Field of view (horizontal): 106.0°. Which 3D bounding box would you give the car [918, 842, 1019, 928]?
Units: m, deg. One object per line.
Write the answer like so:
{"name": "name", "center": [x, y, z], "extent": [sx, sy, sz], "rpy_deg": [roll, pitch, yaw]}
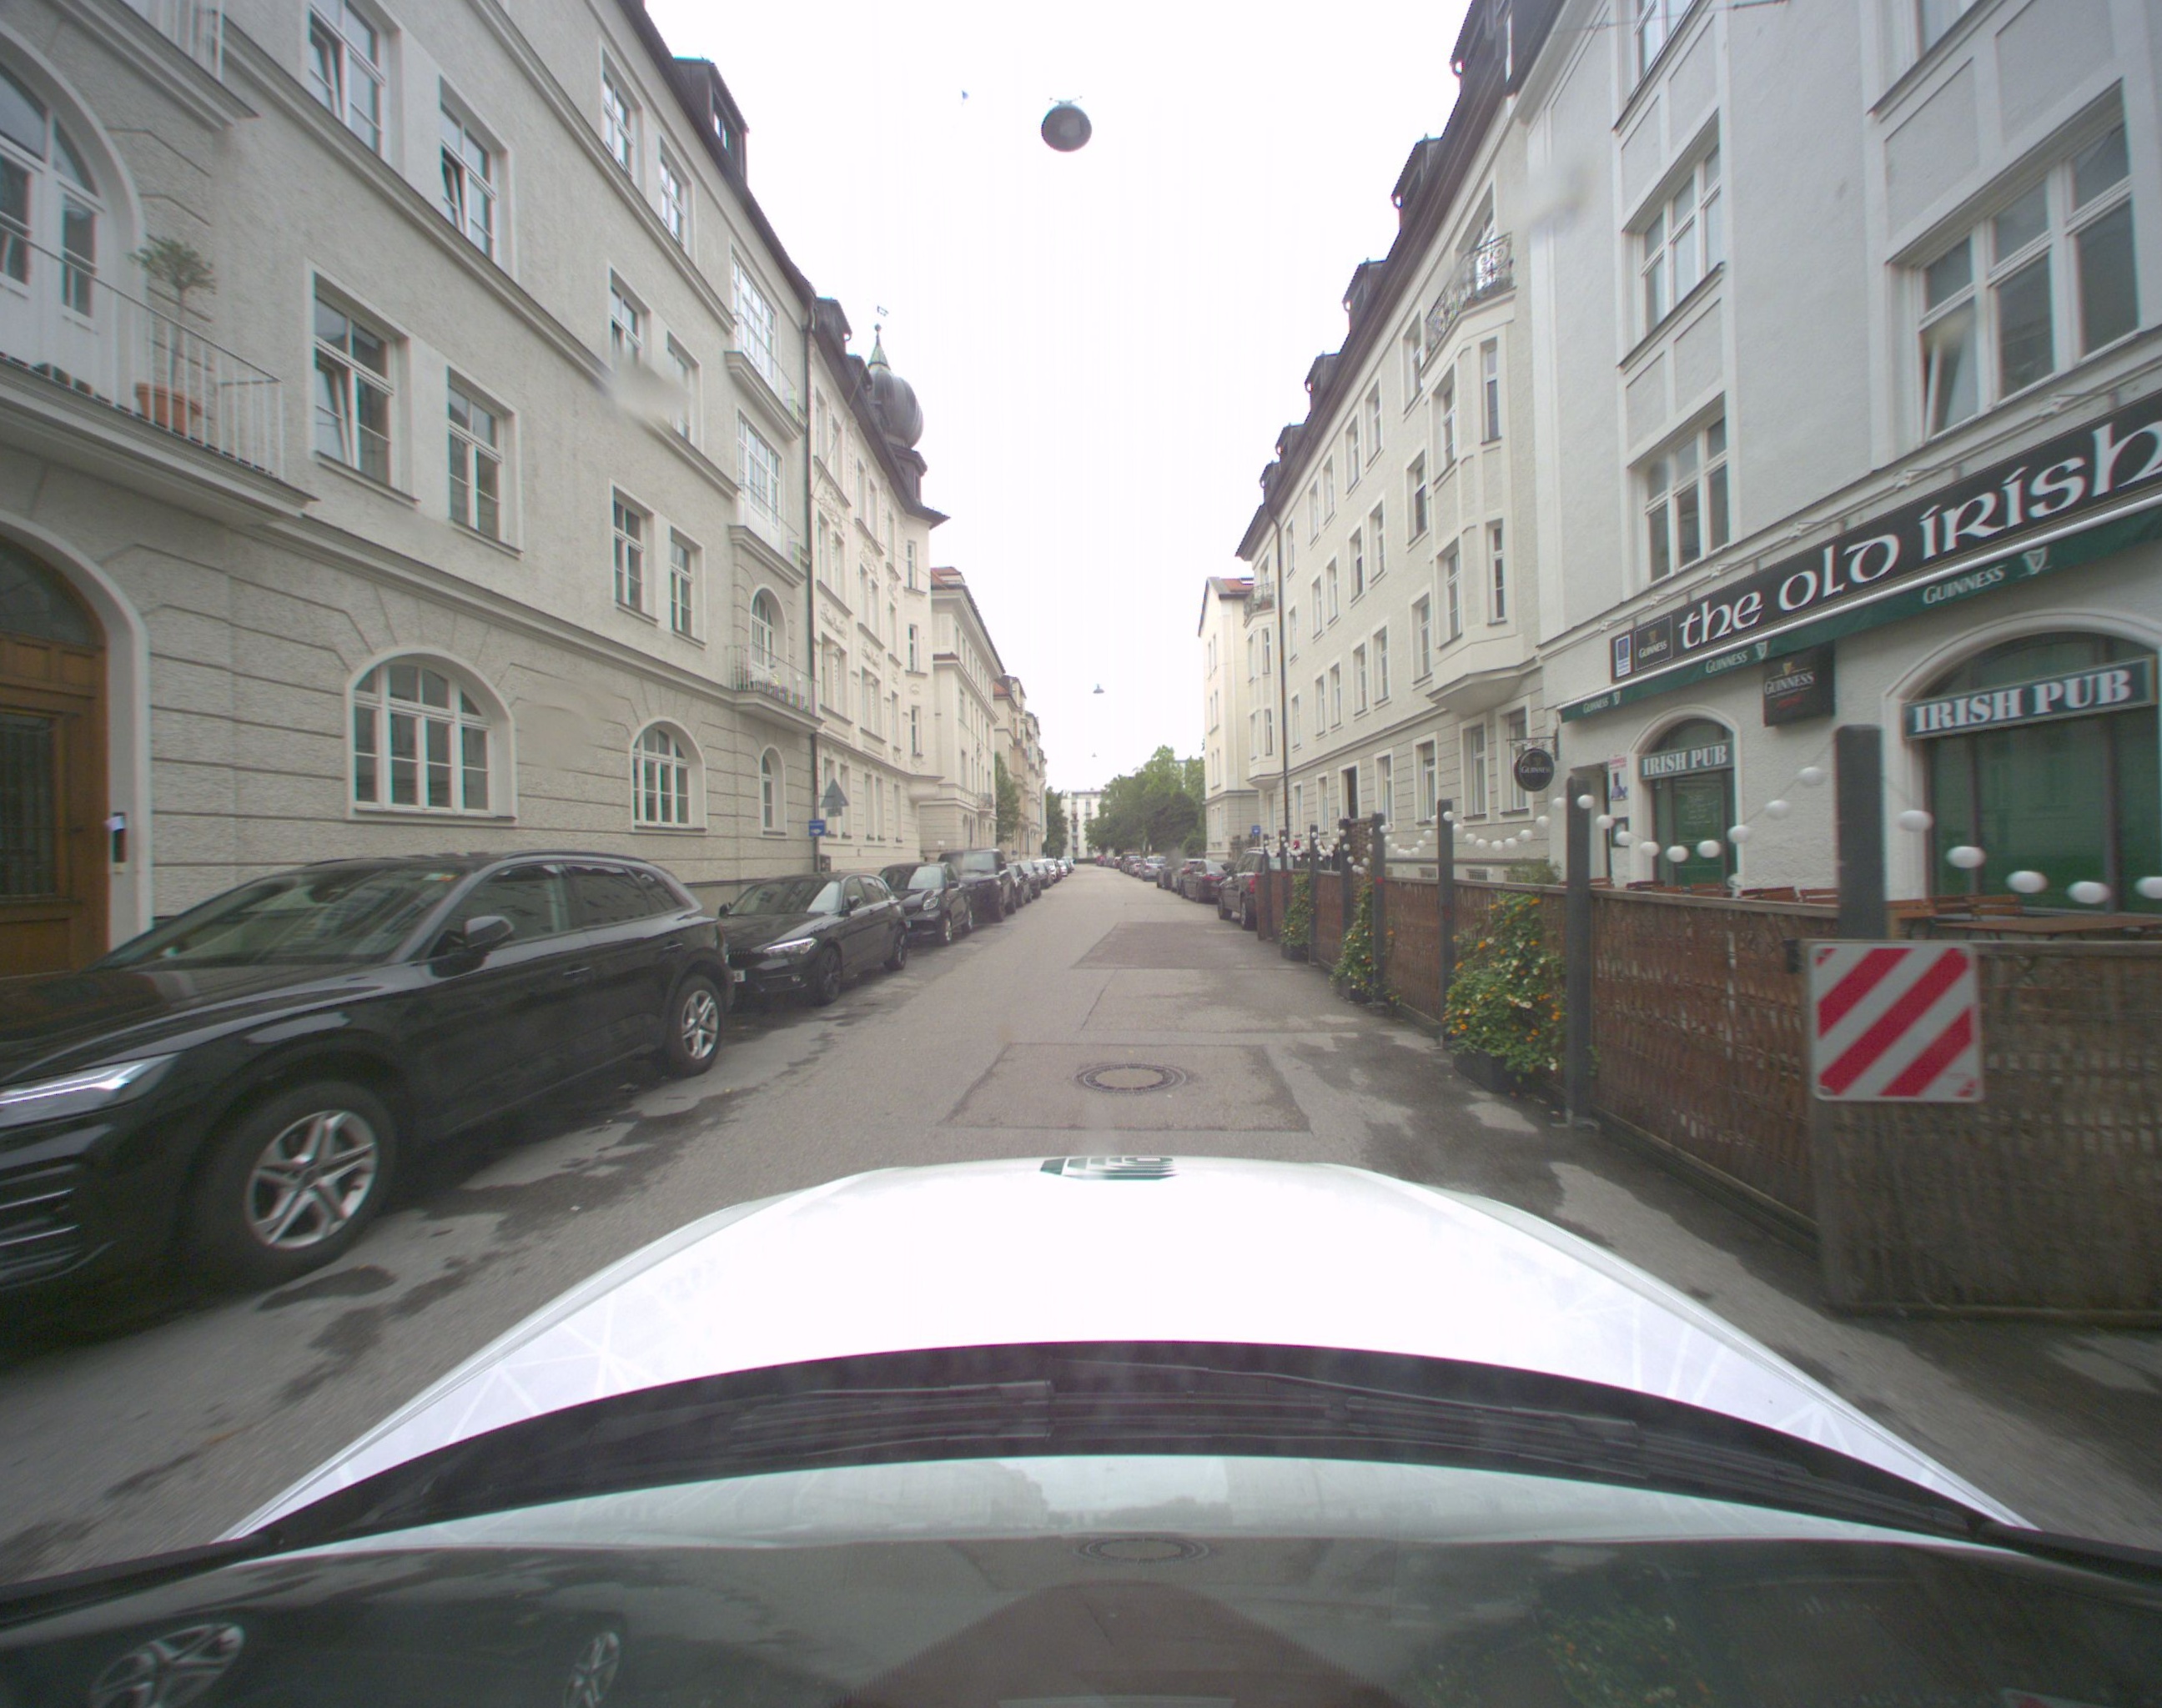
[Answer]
{"name": "car", "center": [-2.773, 0.705, 21.135], "extent": [1.830, 1.894, 4.763], "rpy_deg": [-3, 0, 0]}

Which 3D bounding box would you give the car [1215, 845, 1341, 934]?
{"name": "car", "center": [4.095, 0.676, 17.613], "extent": [1.793, 1.675, 4.191], "rpy_deg": [-1, 0, 2]}

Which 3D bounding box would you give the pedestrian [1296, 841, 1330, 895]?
{"name": "pedestrian", "center": [8.091, 0.472, 28.444], "extent": [0.880, 1.813, 1.111], "rpy_deg": [-1, 0, 1]}

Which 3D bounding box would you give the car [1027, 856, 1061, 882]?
{"name": "car", "center": [-2.417, 0.972, 54.179], "extent": [1.908, 1.618, 4.572], "rpy_deg": [-1, 0, 1]}

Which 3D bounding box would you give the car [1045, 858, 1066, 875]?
{"name": "car", "center": [-2.329, 1.132, 75.143], "extent": [1.831, 1.434, 4.242], "rpy_deg": [-3, 0, -1]}

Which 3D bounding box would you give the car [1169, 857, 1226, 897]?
{"name": "car", "center": [4.686, 0.884, 33.257], "extent": [1.754, 1.485, 4.421], "rpy_deg": [1, 0, 1]}

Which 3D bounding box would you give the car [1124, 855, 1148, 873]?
{"name": "car", "center": [5.044, 0.920, 75.618], "extent": [1.746, 1.610, 4.419], "rpy_deg": [0, 0, -3]}

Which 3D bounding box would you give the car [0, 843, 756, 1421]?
{"name": "car", "center": [-3.759, 0.781, 4.514], "extent": [1.868, 1.599, 4.438], "rpy_deg": [-1, 0, 4]}

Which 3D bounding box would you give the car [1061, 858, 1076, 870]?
{"name": "car", "center": [-1.682, 1.314, 110.723], "extent": [1.830, 1.438, 4.275], "rpy_deg": [-4, 0, 1]}

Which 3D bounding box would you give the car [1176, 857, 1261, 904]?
{"name": "car", "center": [4.571, 0.838, 27.786], "extent": [1.832, 1.399, 4.968], "rpy_deg": [0, 0, -3]}

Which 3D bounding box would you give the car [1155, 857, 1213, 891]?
{"name": "car", "center": [4.745, 0.885, 38.212], "extent": [1.988, 1.457, 4.710], "rpy_deg": [-2, 0, -1]}

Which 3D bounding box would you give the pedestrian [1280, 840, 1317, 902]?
{"name": "pedestrian", "center": [6.506, 0.492, 24.429], "extent": [0.879, 1.811, 1.113], "rpy_deg": [-1, 0, 5]}

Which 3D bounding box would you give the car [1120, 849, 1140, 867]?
{"name": "car", "center": [5.362, 0.428, 90.106], "extent": [1.944, 1.954, 4.665], "rpy_deg": [0, 1, 0]}

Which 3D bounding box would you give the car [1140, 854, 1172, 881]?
{"name": "car", "center": [4.808, 0.839, 52.381], "extent": [1.815, 1.569, 4.403], "rpy_deg": [1, 0, 3]}

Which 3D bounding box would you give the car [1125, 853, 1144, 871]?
{"name": "car", "center": [5.273, 0.799, 80.691], "extent": [1.717, 1.769, 4.414], "rpy_deg": [1, -1, 1]}

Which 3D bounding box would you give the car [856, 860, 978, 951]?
{"name": "car", "center": [-3.127, 0.922, 16.188], "extent": [1.611, 1.513, 3.532], "rpy_deg": [-2, 0, 1]}

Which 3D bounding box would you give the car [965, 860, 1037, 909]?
{"name": "car", "center": [-2.643, 0.970, 27.730], "extent": [1.829, 1.394, 4.246], "rpy_deg": [-3, 0, 2]}

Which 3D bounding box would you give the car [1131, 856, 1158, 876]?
{"name": "car", "center": [4.910, 0.889, 63.293], "extent": [1.778, 1.504, 4.065], "rpy_deg": [0, 0, 1]}

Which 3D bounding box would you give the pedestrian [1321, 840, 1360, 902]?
{"name": "pedestrian", "center": [7.654, 0.484, 24.033], "extent": [0.878, 1.786, 1.113], "rpy_deg": [-1, 0, 6]}

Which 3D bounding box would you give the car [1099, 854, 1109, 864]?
{"name": "car", "center": [4.398, 0.943, 157.819], "extent": [1.829, 1.927, 4.007], "rpy_deg": [1, 0, 3]}

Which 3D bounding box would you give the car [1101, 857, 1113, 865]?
{"name": "car", "center": [4.732, 1.297, 147.007], "extent": [1.834, 1.519, 3.943], "rpy_deg": [0, -1, -3]}

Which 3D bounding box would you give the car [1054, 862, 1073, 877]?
{"name": "car", "center": [-1.921, 1.723, 89.985], "extent": [1.830, 1.435, 4.245], "rpy_deg": [-4, 0, 1]}

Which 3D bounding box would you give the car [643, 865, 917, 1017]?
{"name": "car", "center": [-3.442, 0.907, 10.223], "extent": [1.647, 1.407, 4.096], "rpy_deg": [-3, 0, 4]}

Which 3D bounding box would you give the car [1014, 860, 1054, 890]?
{"name": "car", "center": [-2.513, 1.104, 44.487], "extent": [1.786, 1.415, 4.278], "rpy_deg": [-4, 0, 0]}

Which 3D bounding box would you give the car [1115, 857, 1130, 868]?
{"name": "car", "center": [5.486, 1.103, 108.188], "extent": [1.832, 1.413, 4.342], "rpy_deg": [0, -1, 0]}

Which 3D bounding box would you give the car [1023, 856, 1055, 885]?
{"name": "car", "center": [-2.521, 0.981, 49.184], "extent": [1.778, 1.541, 4.253], "rpy_deg": [-3, 0, -3]}

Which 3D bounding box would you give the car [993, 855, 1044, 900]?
{"name": "car", "center": [-2.485, 0.915, 33.084], "extent": [1.722, 1.618, 4.119], "rpy_deg": [-3, 0, -1]}

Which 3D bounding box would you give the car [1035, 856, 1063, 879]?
{"name": "car", "center": [-2.296, 0.959, 59.772], "extent": [1.830, 1.618, 4.244], "rpy_deg": [-1, 0, 0]}
